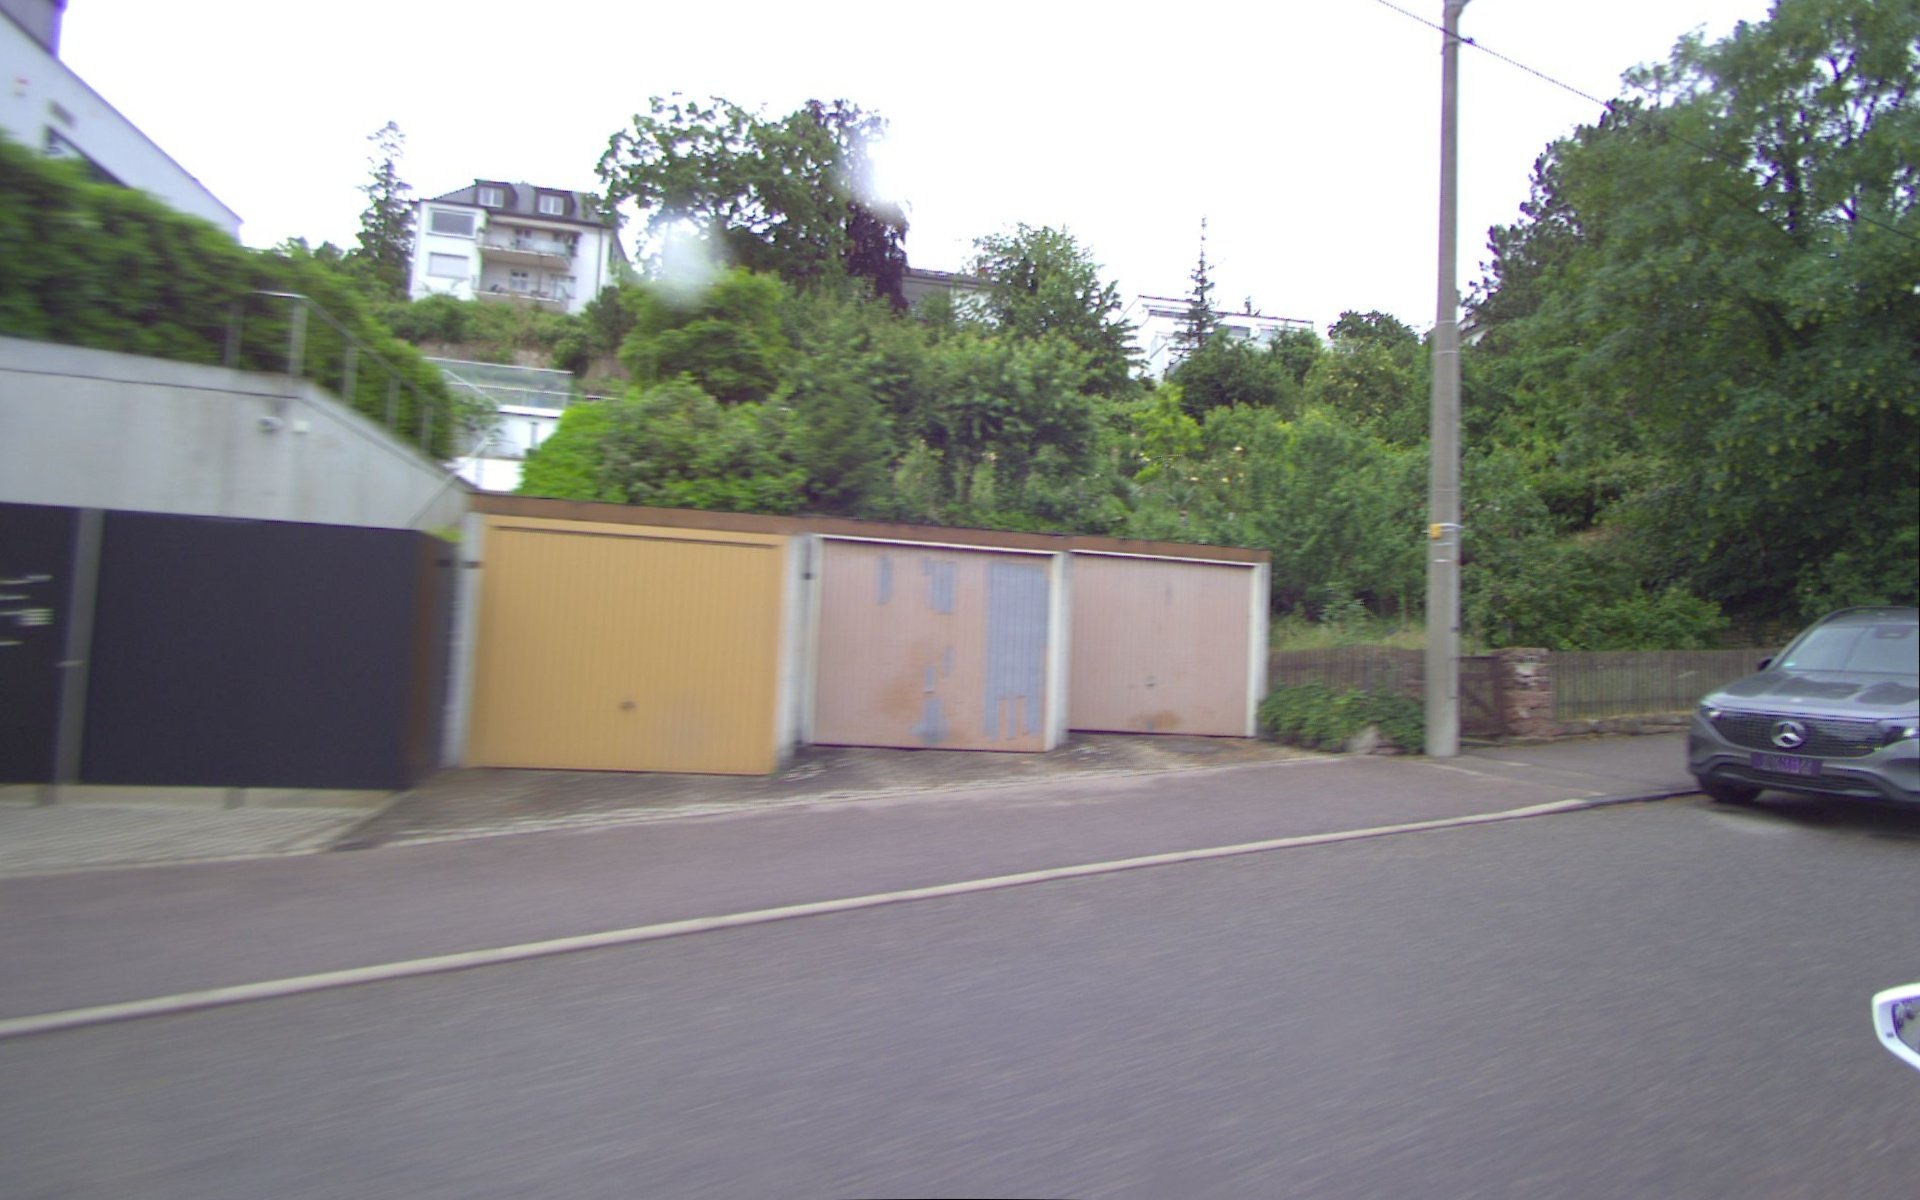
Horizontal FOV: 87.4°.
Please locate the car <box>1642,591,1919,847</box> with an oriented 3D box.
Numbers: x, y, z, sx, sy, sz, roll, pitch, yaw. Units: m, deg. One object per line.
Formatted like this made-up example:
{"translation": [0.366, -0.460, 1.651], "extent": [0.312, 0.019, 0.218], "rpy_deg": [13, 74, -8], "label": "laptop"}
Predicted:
{"translation": [8.039, 0.850, 8.492], "extent": [4.488, 1.713, 1.889], "rpy_deg": [1, -2, -28], "label": "car"}
